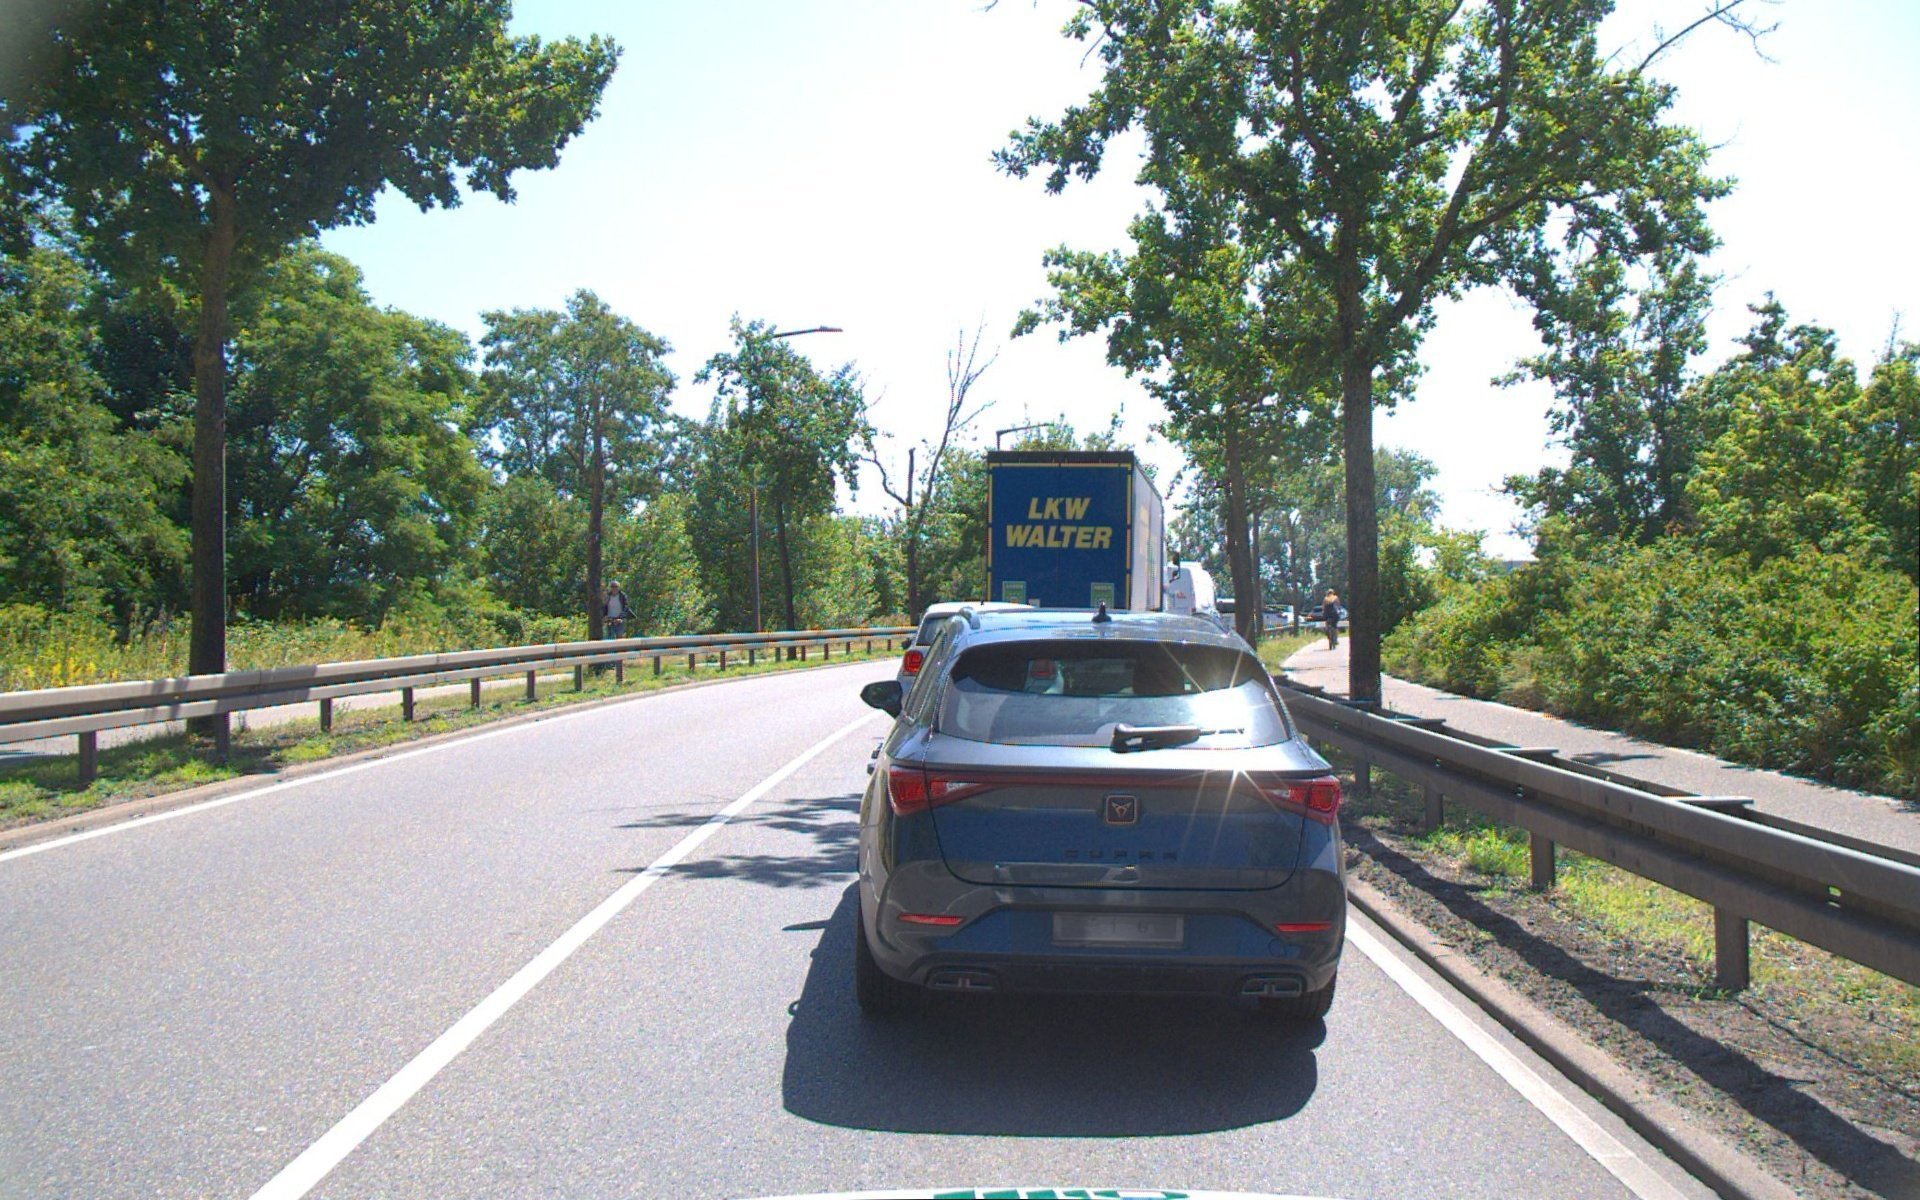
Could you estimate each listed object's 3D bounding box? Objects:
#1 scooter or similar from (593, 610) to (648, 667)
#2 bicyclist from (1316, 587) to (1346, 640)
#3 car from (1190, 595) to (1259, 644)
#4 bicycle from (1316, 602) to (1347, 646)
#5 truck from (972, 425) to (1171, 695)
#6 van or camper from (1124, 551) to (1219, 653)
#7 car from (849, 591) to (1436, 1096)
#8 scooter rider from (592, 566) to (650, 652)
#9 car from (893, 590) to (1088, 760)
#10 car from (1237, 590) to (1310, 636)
[{"bbox_3d":[-6.813,0.756,33.263,0.760,1.110,1.096,1,0,7],"label":"scooter or similar"},{"bbox_3d":[10.974,0.401,48.930,0.842,1.550,0.981,1,0,12],"label":"bicyclist"},{"bbox_3d":[10.025,0.713,62.508,1.951,1.742,4.622,1,0,17],"label":"car"},{"bbox_3d":[10.993,0.702,48.978,0.842,1.258,2.311,1,0,12],"label":"bicycle"},{"bbox_3d":[2.932,-0.635,36.246,2.887,4.527,16.811,1,0,9],"label":"truck"},{"bbox_3d":[6.858,0.068,53.034,2.414,3.051,6.091,1,0,13],"label":"van or camper"},{"bbox_3d":[0.513,0.724,6.795,1.709,1.457,3.879,1,0,-1],"label":"car"},{"bbox_3d":[-6.811,0.181,33.273,0.760,1.686,1.121,1,0,8],"label":"scooter rider"},{"bbox_3d":[0.367,0.702,17.278,1.771,1.534,4.001,1,0,2],"label":"car"},{"bbox_3d":[13.409,0.551,70.508,1.954,1.840,4.842,1,0,24],"label":"car"}]
